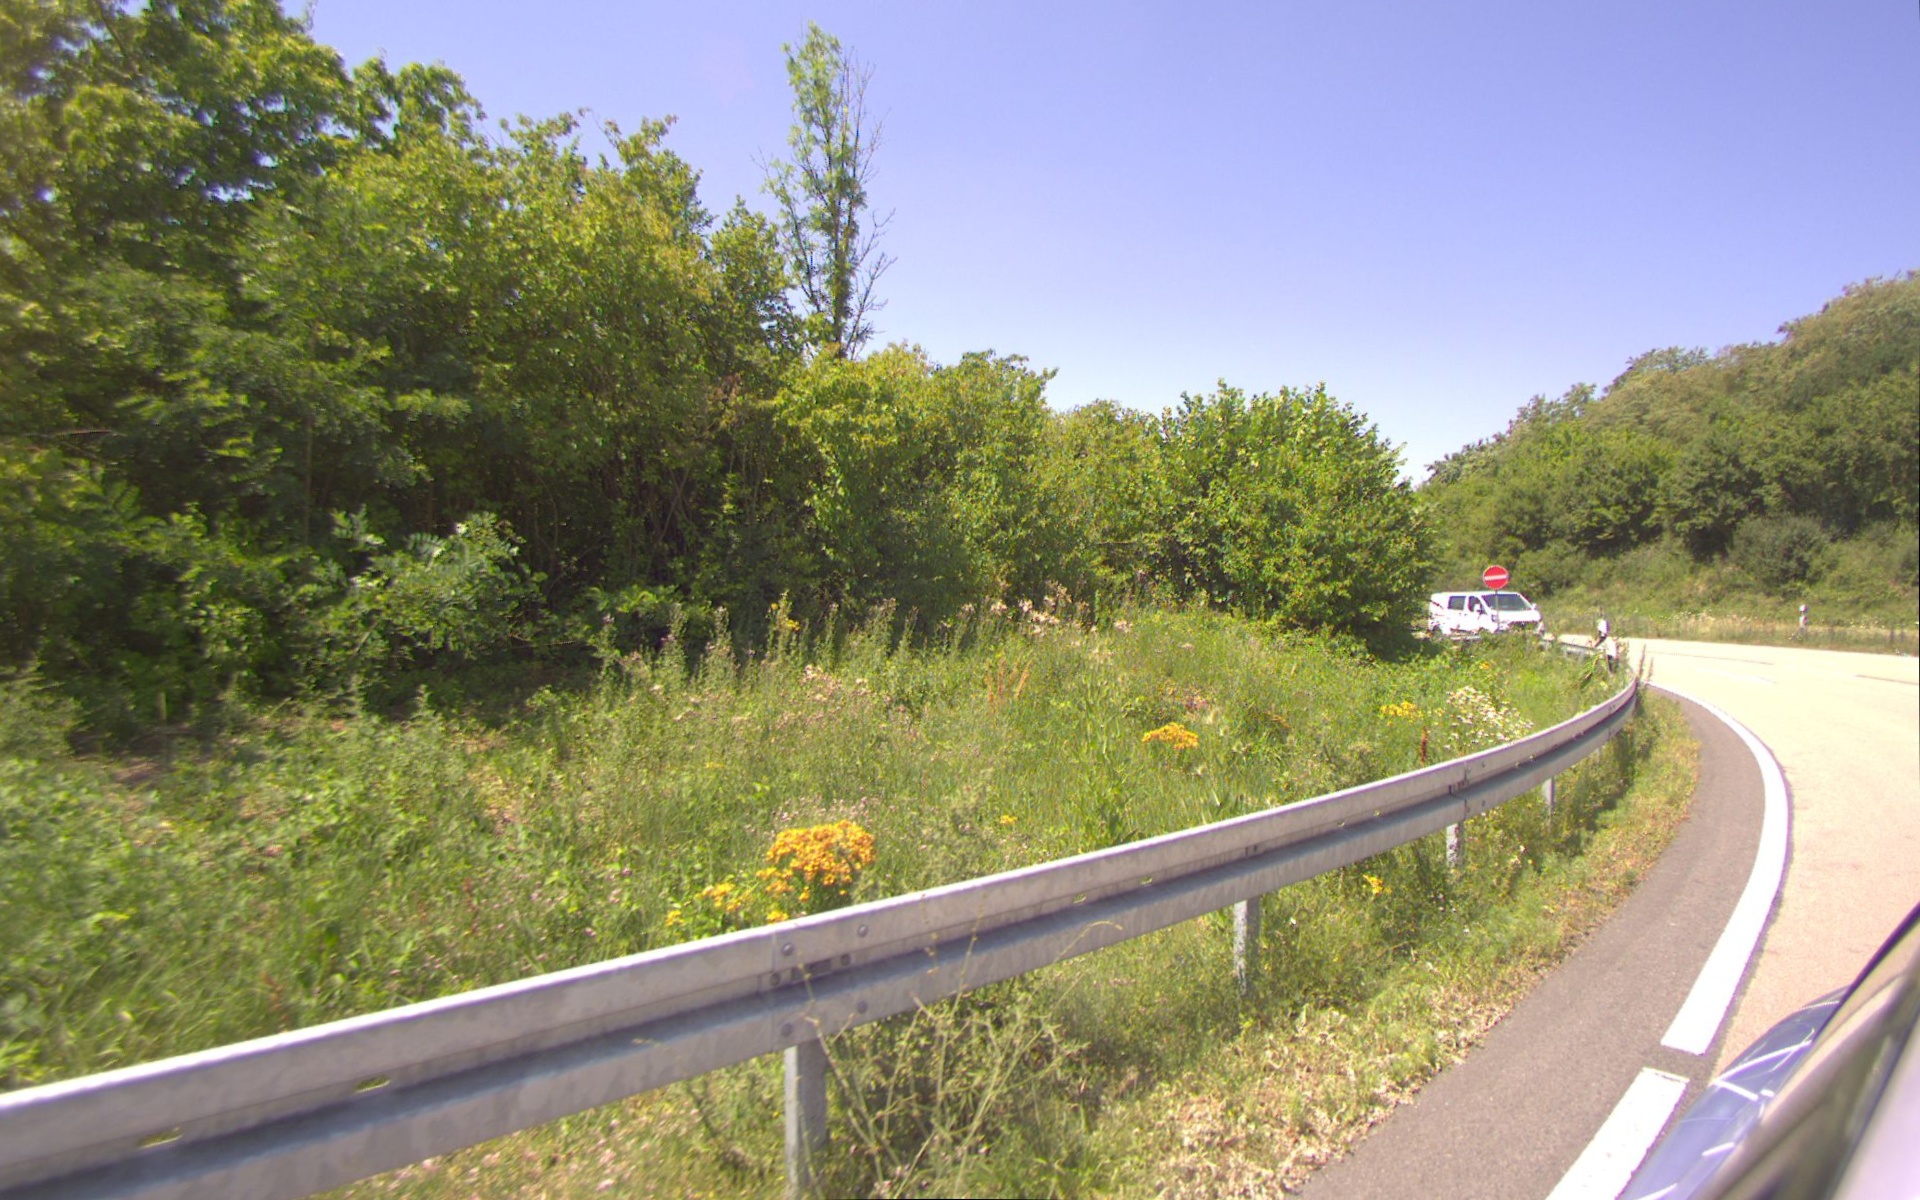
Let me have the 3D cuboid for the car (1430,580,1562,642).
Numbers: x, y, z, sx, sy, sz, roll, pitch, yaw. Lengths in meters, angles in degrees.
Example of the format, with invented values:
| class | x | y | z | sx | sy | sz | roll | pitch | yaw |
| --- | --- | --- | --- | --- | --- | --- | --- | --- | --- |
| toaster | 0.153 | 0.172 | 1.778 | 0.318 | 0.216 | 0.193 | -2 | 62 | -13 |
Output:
| class | x | y | z | sx | sy | sz | roll | pitch | yaw |
| --- | --- | --- | --- | --- | --- | --- | --- | --- | --- |
| car | 19.489 | 0.367 | 37.095 | 2.024 | 2.039 | 5.042 | -2 | 0 | -1 |
